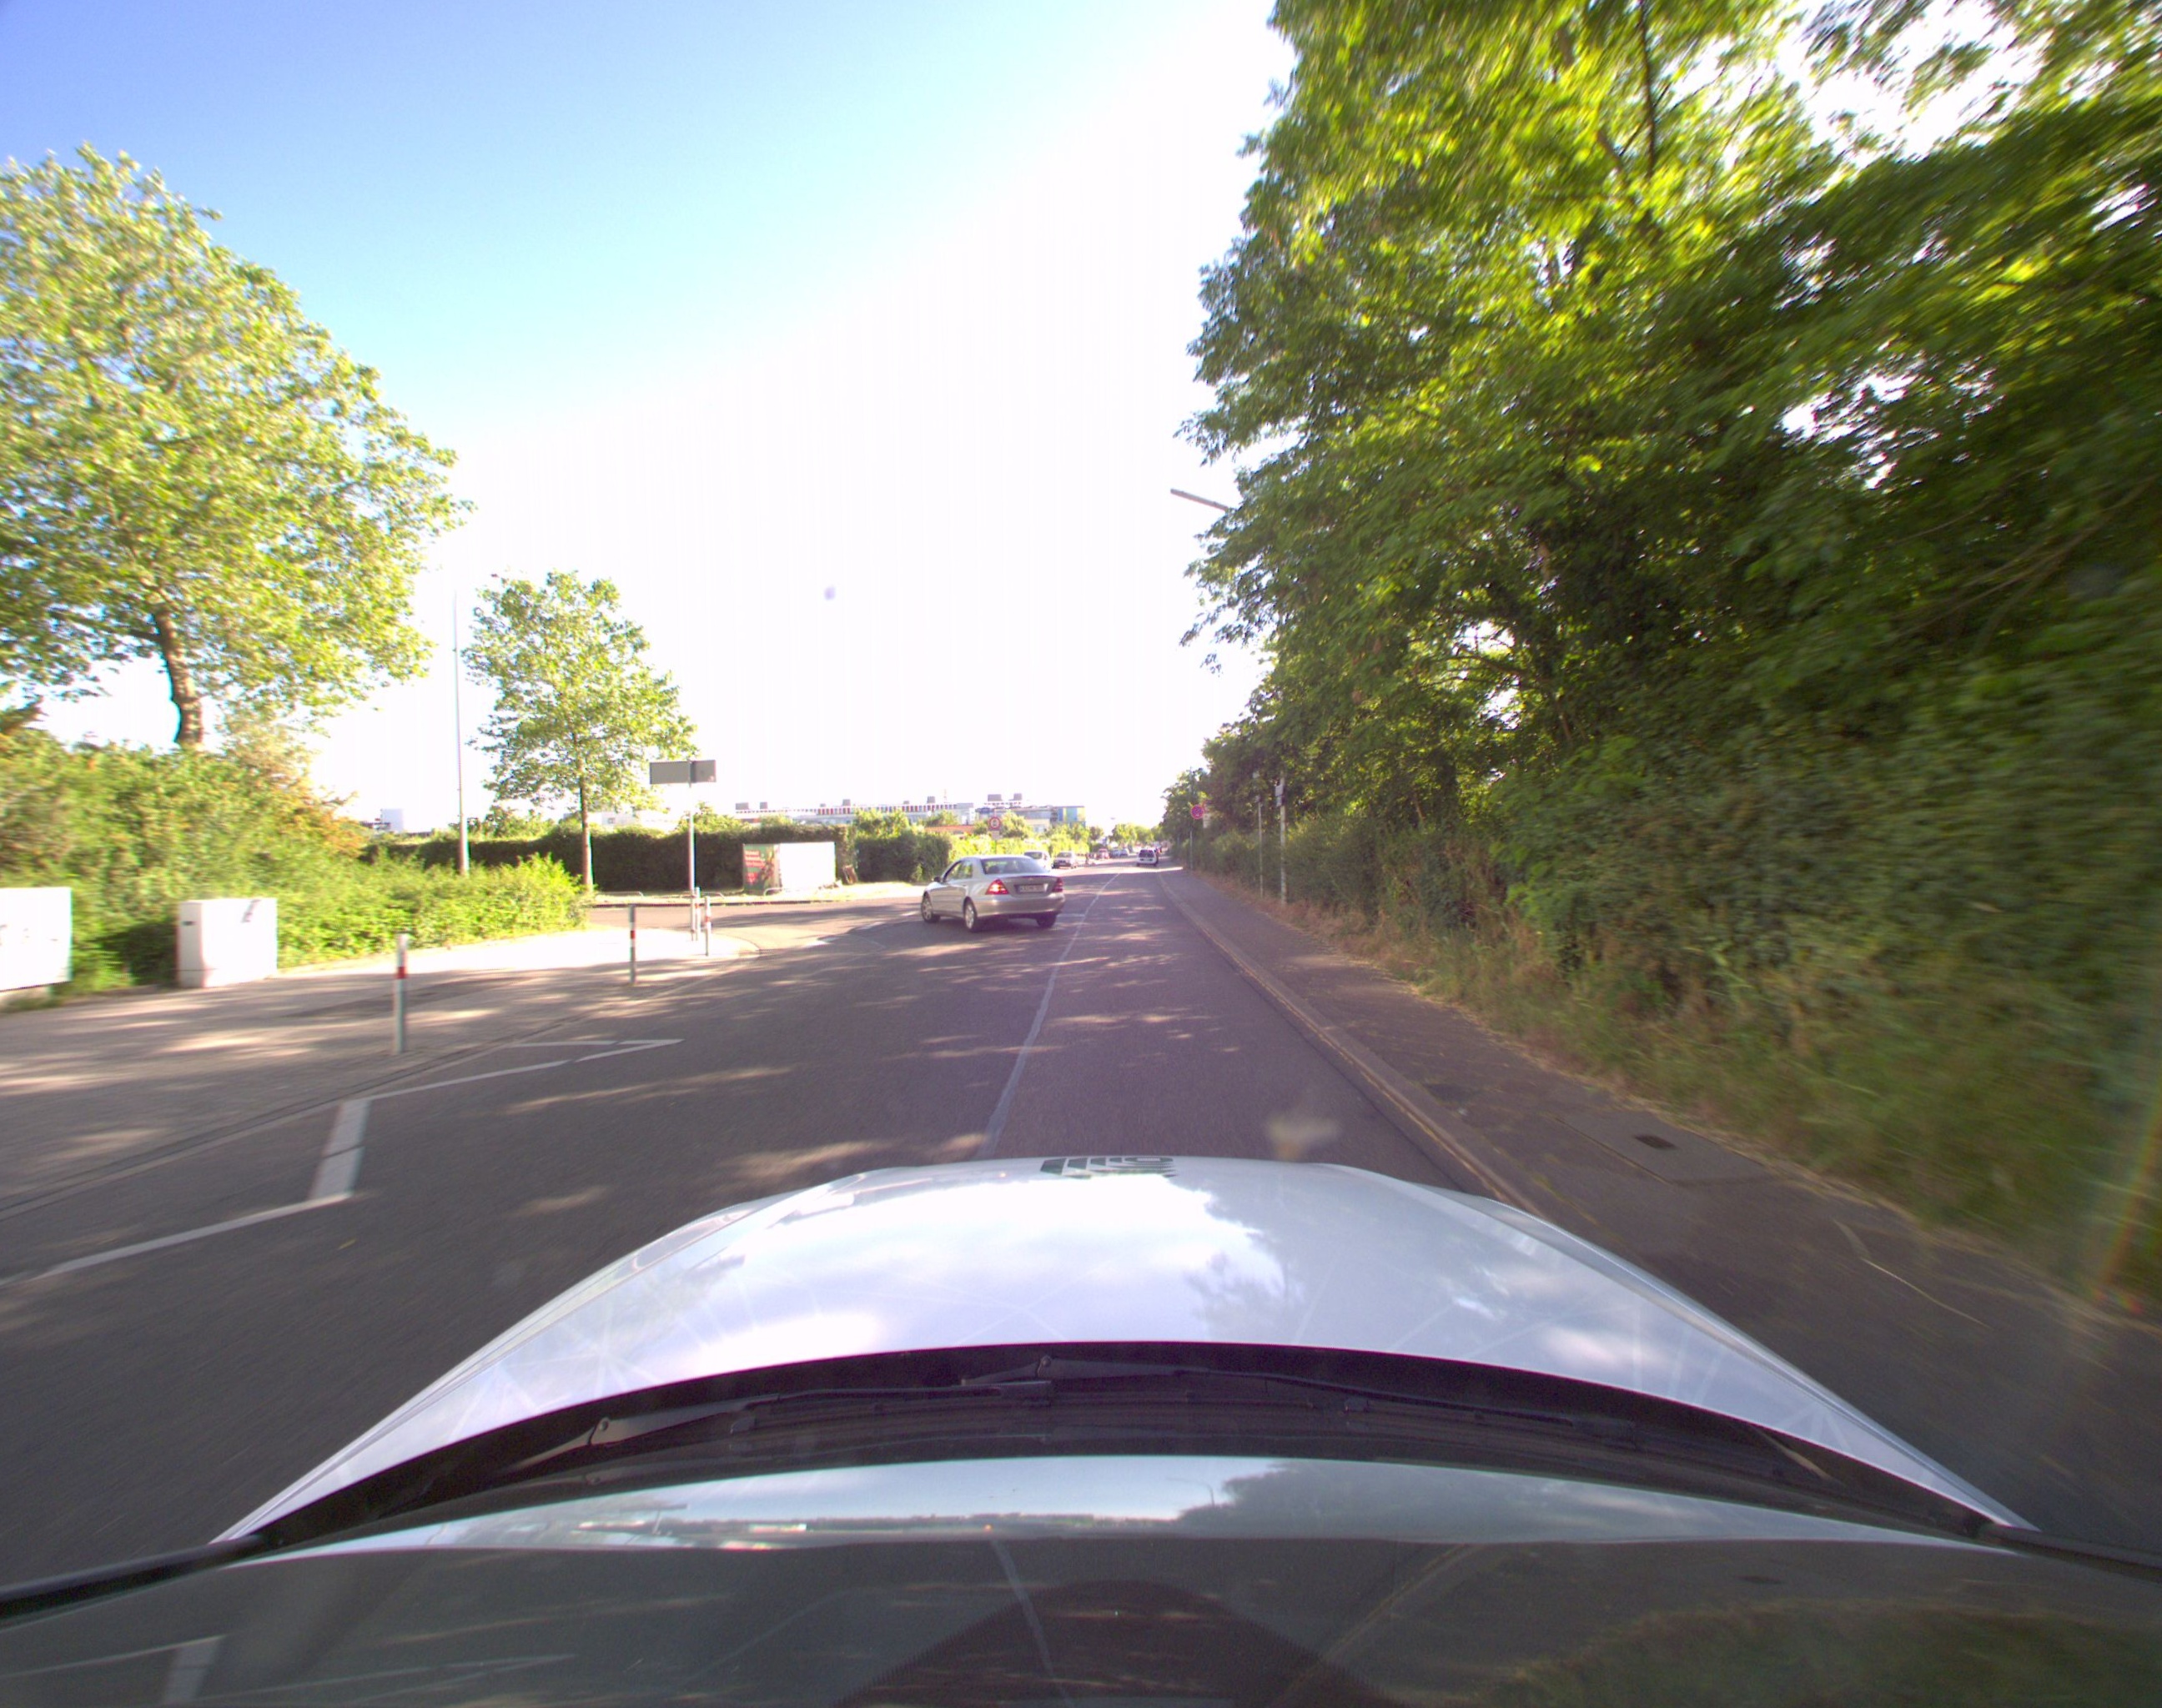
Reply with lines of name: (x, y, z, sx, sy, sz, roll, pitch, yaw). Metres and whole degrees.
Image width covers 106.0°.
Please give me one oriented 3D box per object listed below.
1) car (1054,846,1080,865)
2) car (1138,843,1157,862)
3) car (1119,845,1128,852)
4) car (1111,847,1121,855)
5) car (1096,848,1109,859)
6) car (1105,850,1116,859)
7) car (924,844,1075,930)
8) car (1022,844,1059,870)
car: (-1.179, 0.127, 69.494, 1.635, 1.556, 4.424, -2, 0, 5)
car: (5.704, -0.149, 69.493, 1.548, 1.538, 3.561, 1, 0, 5)
car: (9.499, -1.187, 180.904, 1.845, 1.428, 4.140, 0, 0, 5)
car: (6.544, -0.517, 151.705, 1.552, 1.495, 3.764, -2, 0, 5)
car: (3.141, -0.063, 116.581, 1.552, 1.495, 3.576, -2, 0, 5)
car: (4.859, 0.125, 134.715, 1.552, 1.494, 3.576, 1, 0, 5)
car: (-1.764, 0.571, 16.411, 1.746, 1.453, 3.966, -2, 1, -26)
car: (-2.571, 0.163, 52.431, 1.634, 1.600, 4.320, 0, 0, 7)
